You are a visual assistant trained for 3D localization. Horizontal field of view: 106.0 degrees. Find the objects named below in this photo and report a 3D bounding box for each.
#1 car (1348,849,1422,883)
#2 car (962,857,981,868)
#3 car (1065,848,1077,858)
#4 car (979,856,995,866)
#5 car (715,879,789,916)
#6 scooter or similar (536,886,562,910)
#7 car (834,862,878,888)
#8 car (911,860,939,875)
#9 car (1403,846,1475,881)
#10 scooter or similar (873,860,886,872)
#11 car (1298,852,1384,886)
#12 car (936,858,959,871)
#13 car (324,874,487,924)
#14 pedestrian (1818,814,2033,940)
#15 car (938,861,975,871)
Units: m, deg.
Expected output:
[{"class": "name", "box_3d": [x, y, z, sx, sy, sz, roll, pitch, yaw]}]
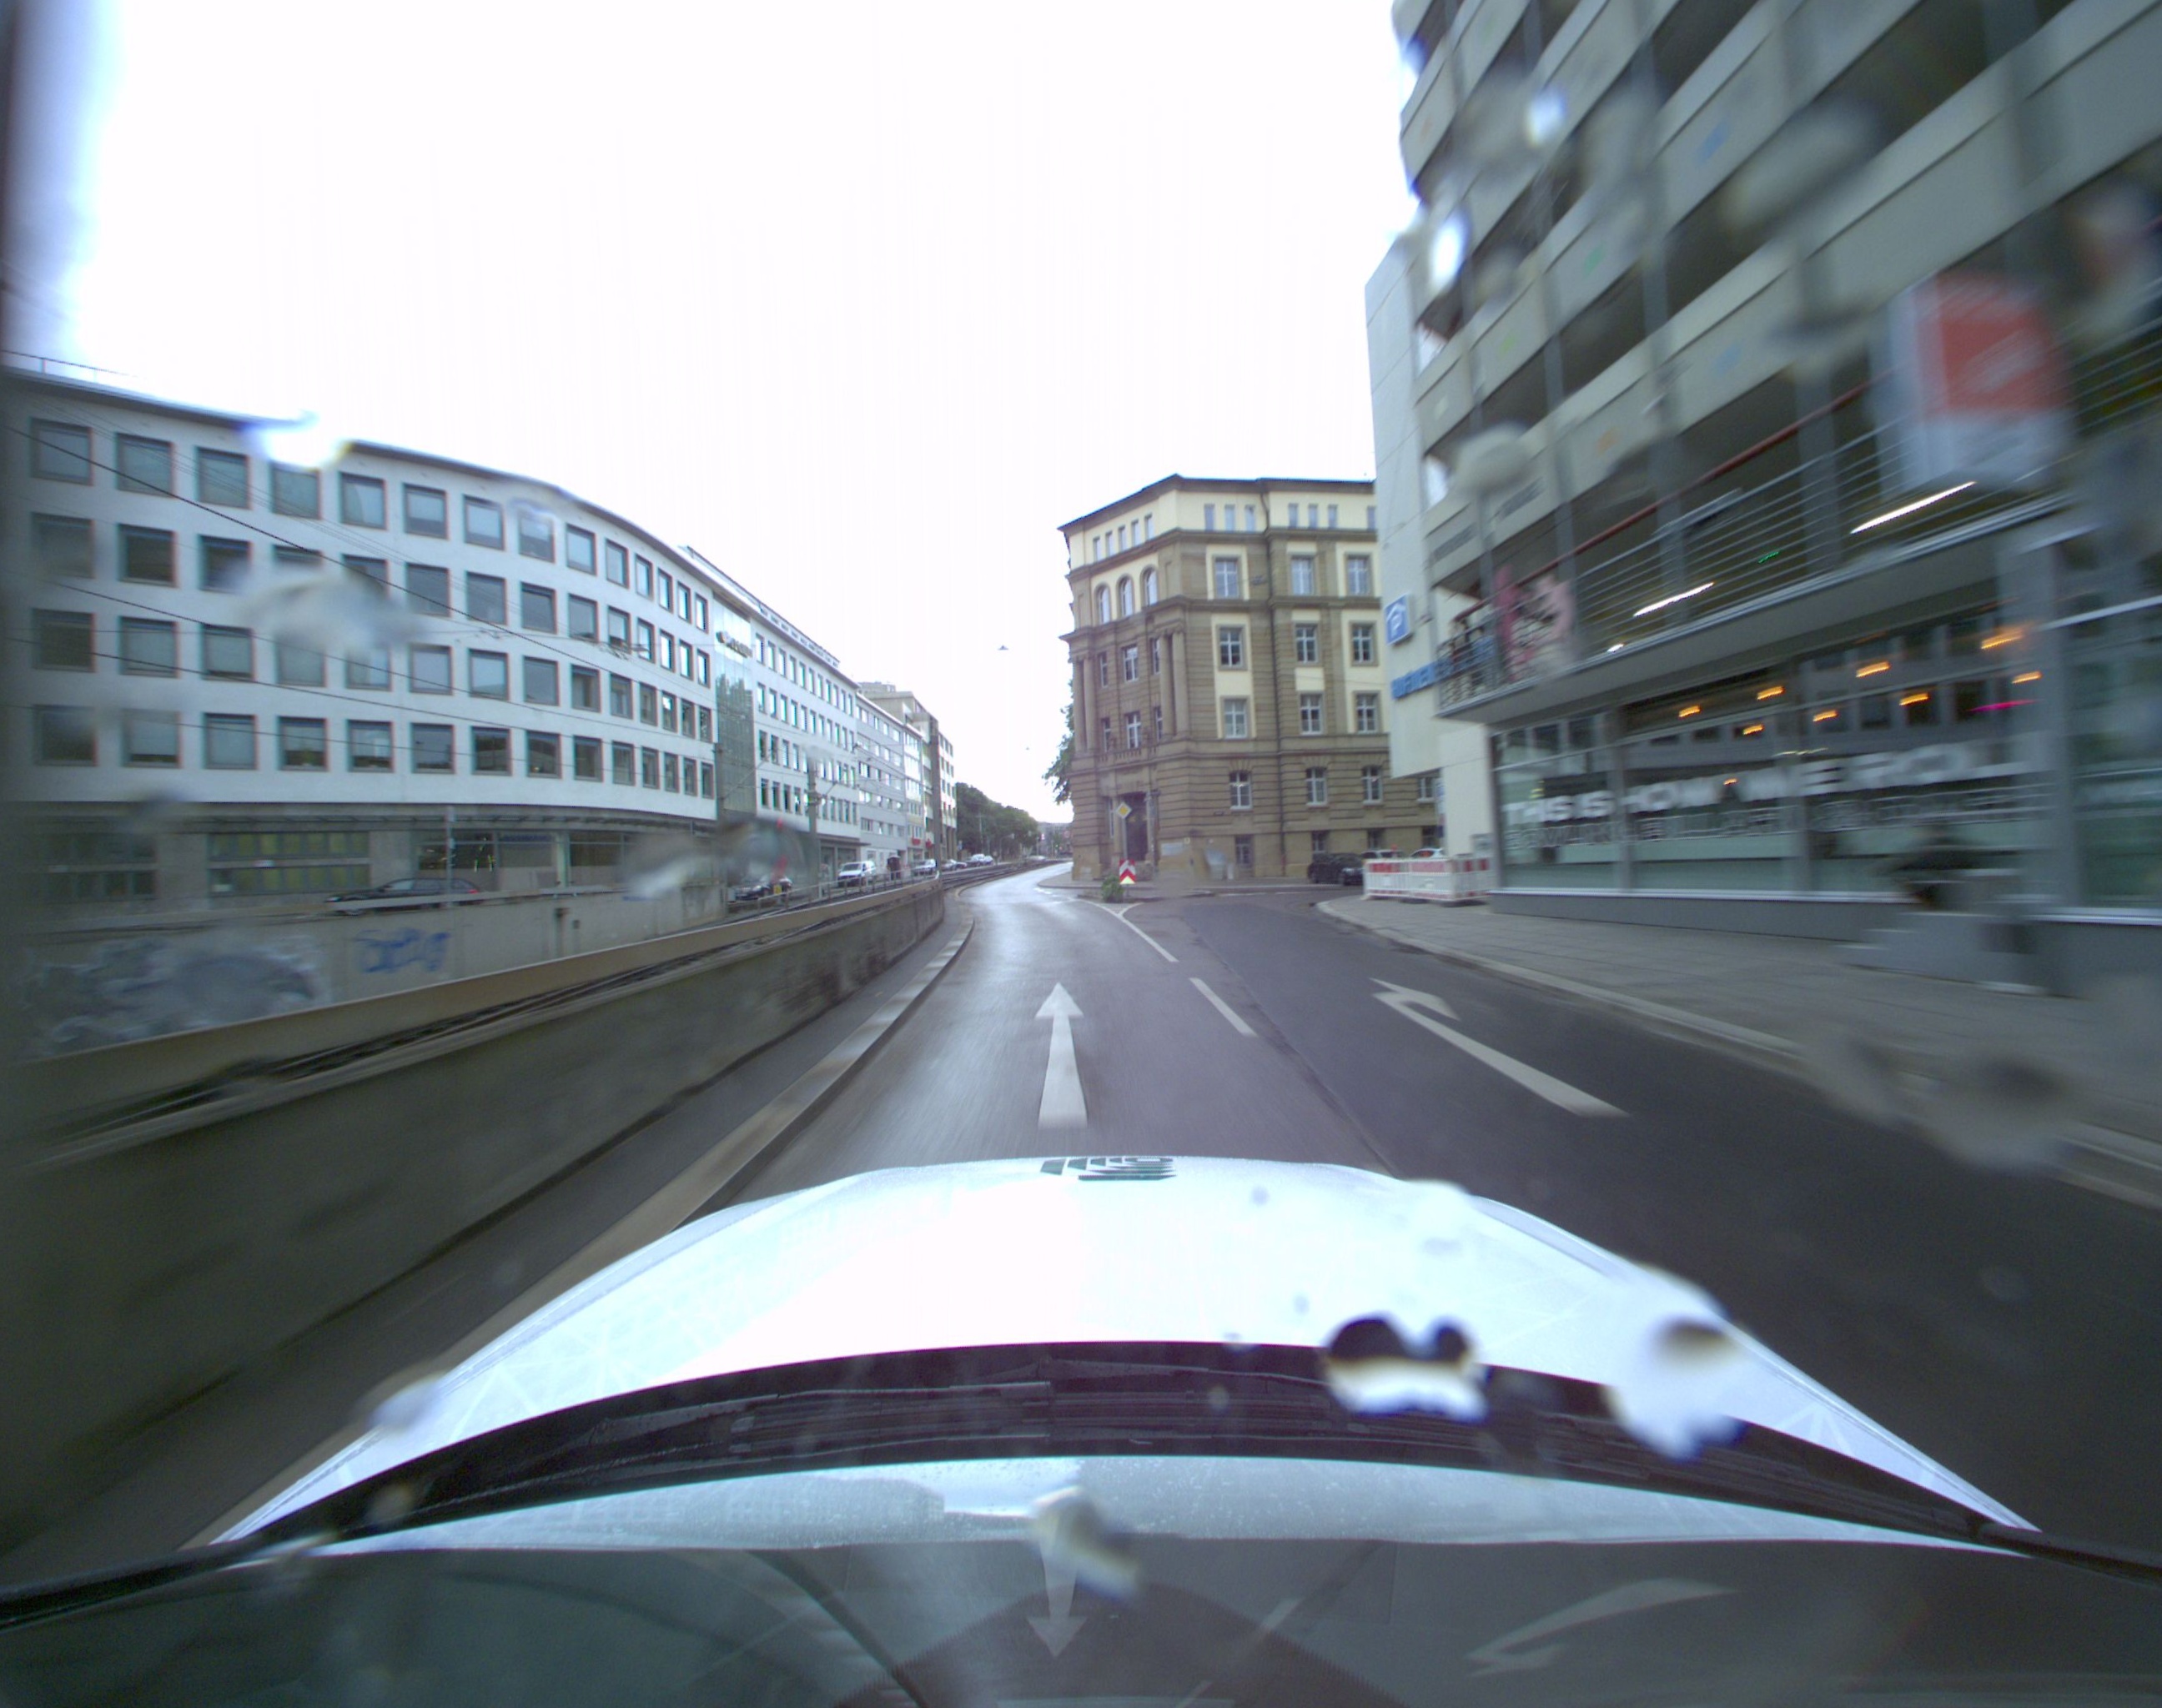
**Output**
[{"class": "car", "box_3d": [14.339, 0.541, 38.692, 1.730, 1.455, 4.327, -2, 0, -2]}, {"class": "car", "box_3d": [-15.397, 1.182, 115.097, 1.987, 1.456, 4.311, -2, 0, 0]}, {"class": "car", "box_3d": [-1.755, -0.095, 142.148, 1.987, 1.662, 4.000, -2, 0, 1]}, {"class": "car", "box_3d": [-14.654, 1.092, 127.413, 1.987, 1.456, 4.311, -2, 0, 0]}, {"class": "car", "box_3d": [-15.679, 2.046, 39.041, 1.987, 1.527, 3.663, -2, 0, 0]}, {"class": "scooter or similar", "box_3d": [-23.886, 1.991, 36.580, 0.815, 1.044, 0.550, -2, 0, 16]}, {"class": "car", "box_3d": [-17.571, 1.584, 63.765, 1.987, 1.883, 4.927, -2, 0, 1]}, {"class": "car", "box_3d": [-16.529, 1.385, 86.518, 1.987, 1.456, 4.311, -2, 0, 0]}, {"class": "car", "box_3d": [16.816, 0.429, 38.440, 1.677, 1.517, 3.573, -2, 0, -2]}, {"class": "scooter or similar", "box_3d": [-20.225, 1.189, 81.677, 0.762, 1.220, 2.065, -2, 0, 0]}, {"class": "car", "box_3d": [11.741, 0.648, 37.111, 1.733, 1.367, 4.988, -2, 0, -8]}, {"class": "car", "box_3d": [-16.208, 1.269, 98.704, 1.987, 1.456, 4.311, -2, 0, 0]}, {"class": "car", "box_3d": [-26.786, 1.774, 32.519, 4.801, 1.522, 1.657, -4, -1, -35]}, {"class": "pedestrian", "box_3d": [8.228, 0.210, 8.002, 0.752, 1.123, 1.243, -2, 0, -8]}, {"class": "car", "box_3d": [-16.527, 1.544, 108.127, 4.269, 1.163, 2.006, -2, 0, 11]}]
